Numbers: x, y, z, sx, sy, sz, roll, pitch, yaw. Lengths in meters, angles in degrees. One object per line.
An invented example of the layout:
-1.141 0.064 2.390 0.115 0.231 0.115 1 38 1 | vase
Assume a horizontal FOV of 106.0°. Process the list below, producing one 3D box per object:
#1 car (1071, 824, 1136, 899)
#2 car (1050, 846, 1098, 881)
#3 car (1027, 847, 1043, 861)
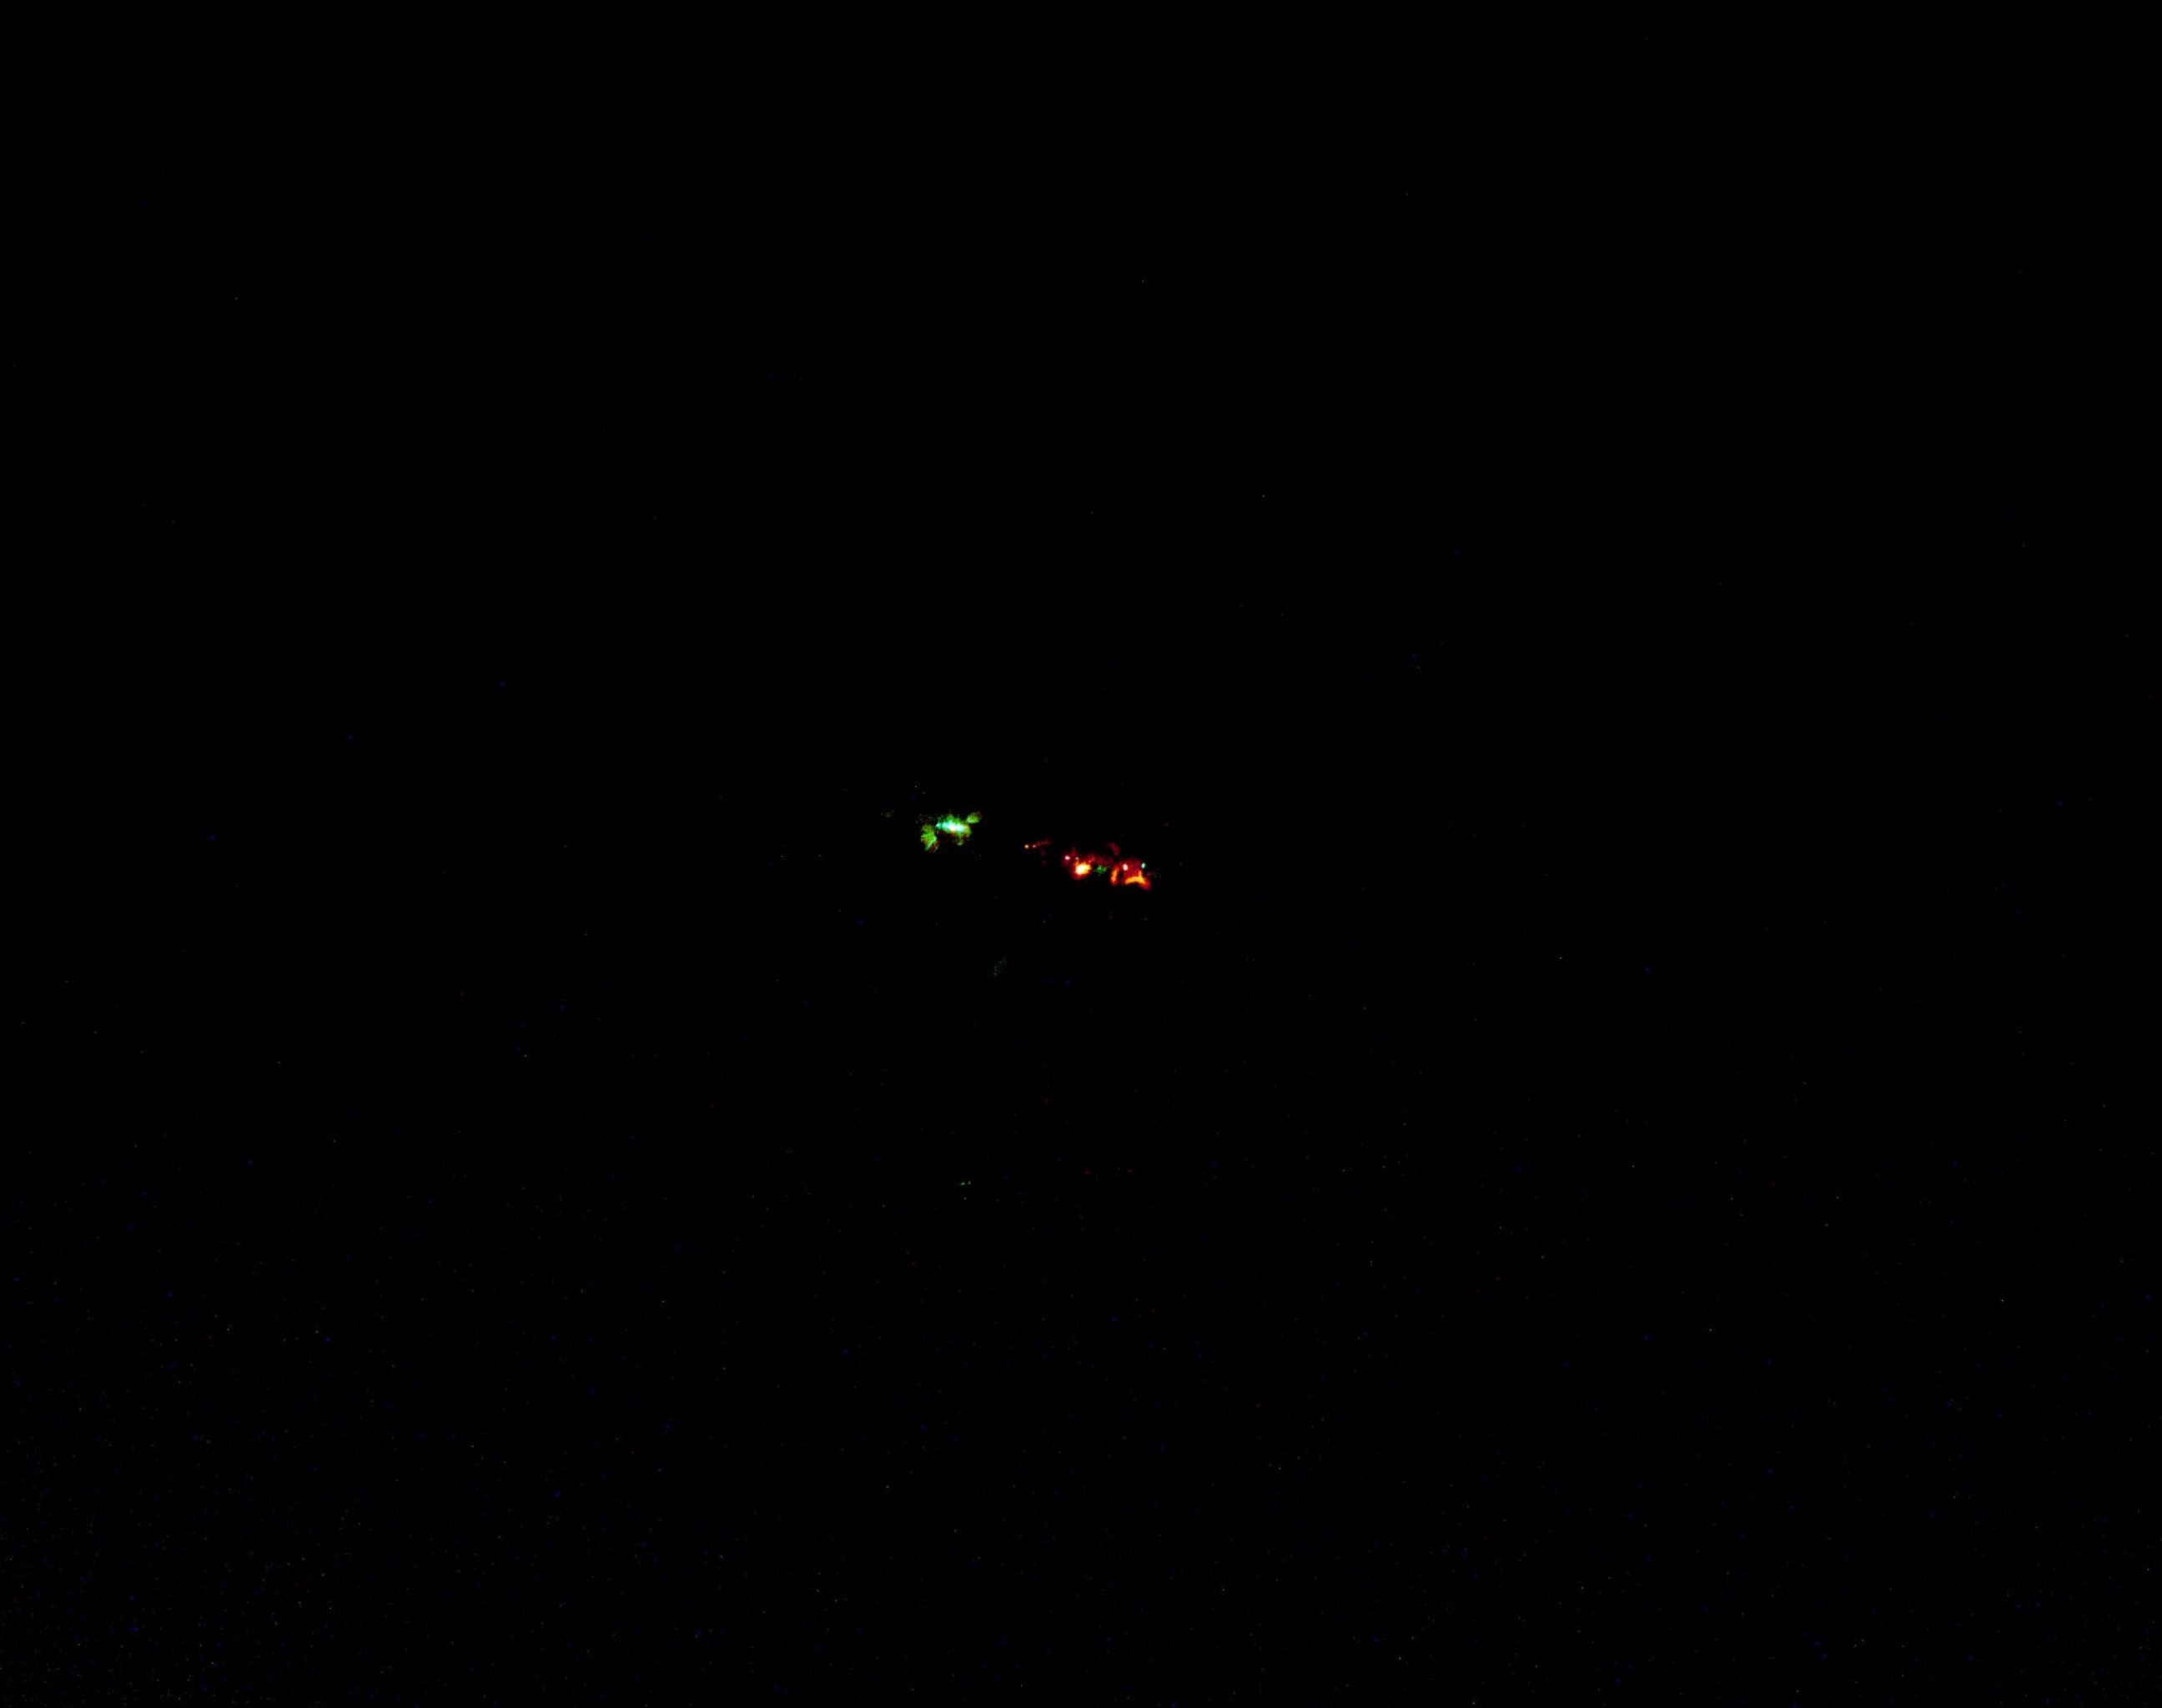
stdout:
0.750 0.210 30.586 2.175 2.557 4.506 2 2 -1 | car
-0.479 0.699 67.120 3.367 2.557 7.343 2 2 3 | car
-7.362 0.025 130.364 1.985 2.013 4.003 -4 -1 3 | car
